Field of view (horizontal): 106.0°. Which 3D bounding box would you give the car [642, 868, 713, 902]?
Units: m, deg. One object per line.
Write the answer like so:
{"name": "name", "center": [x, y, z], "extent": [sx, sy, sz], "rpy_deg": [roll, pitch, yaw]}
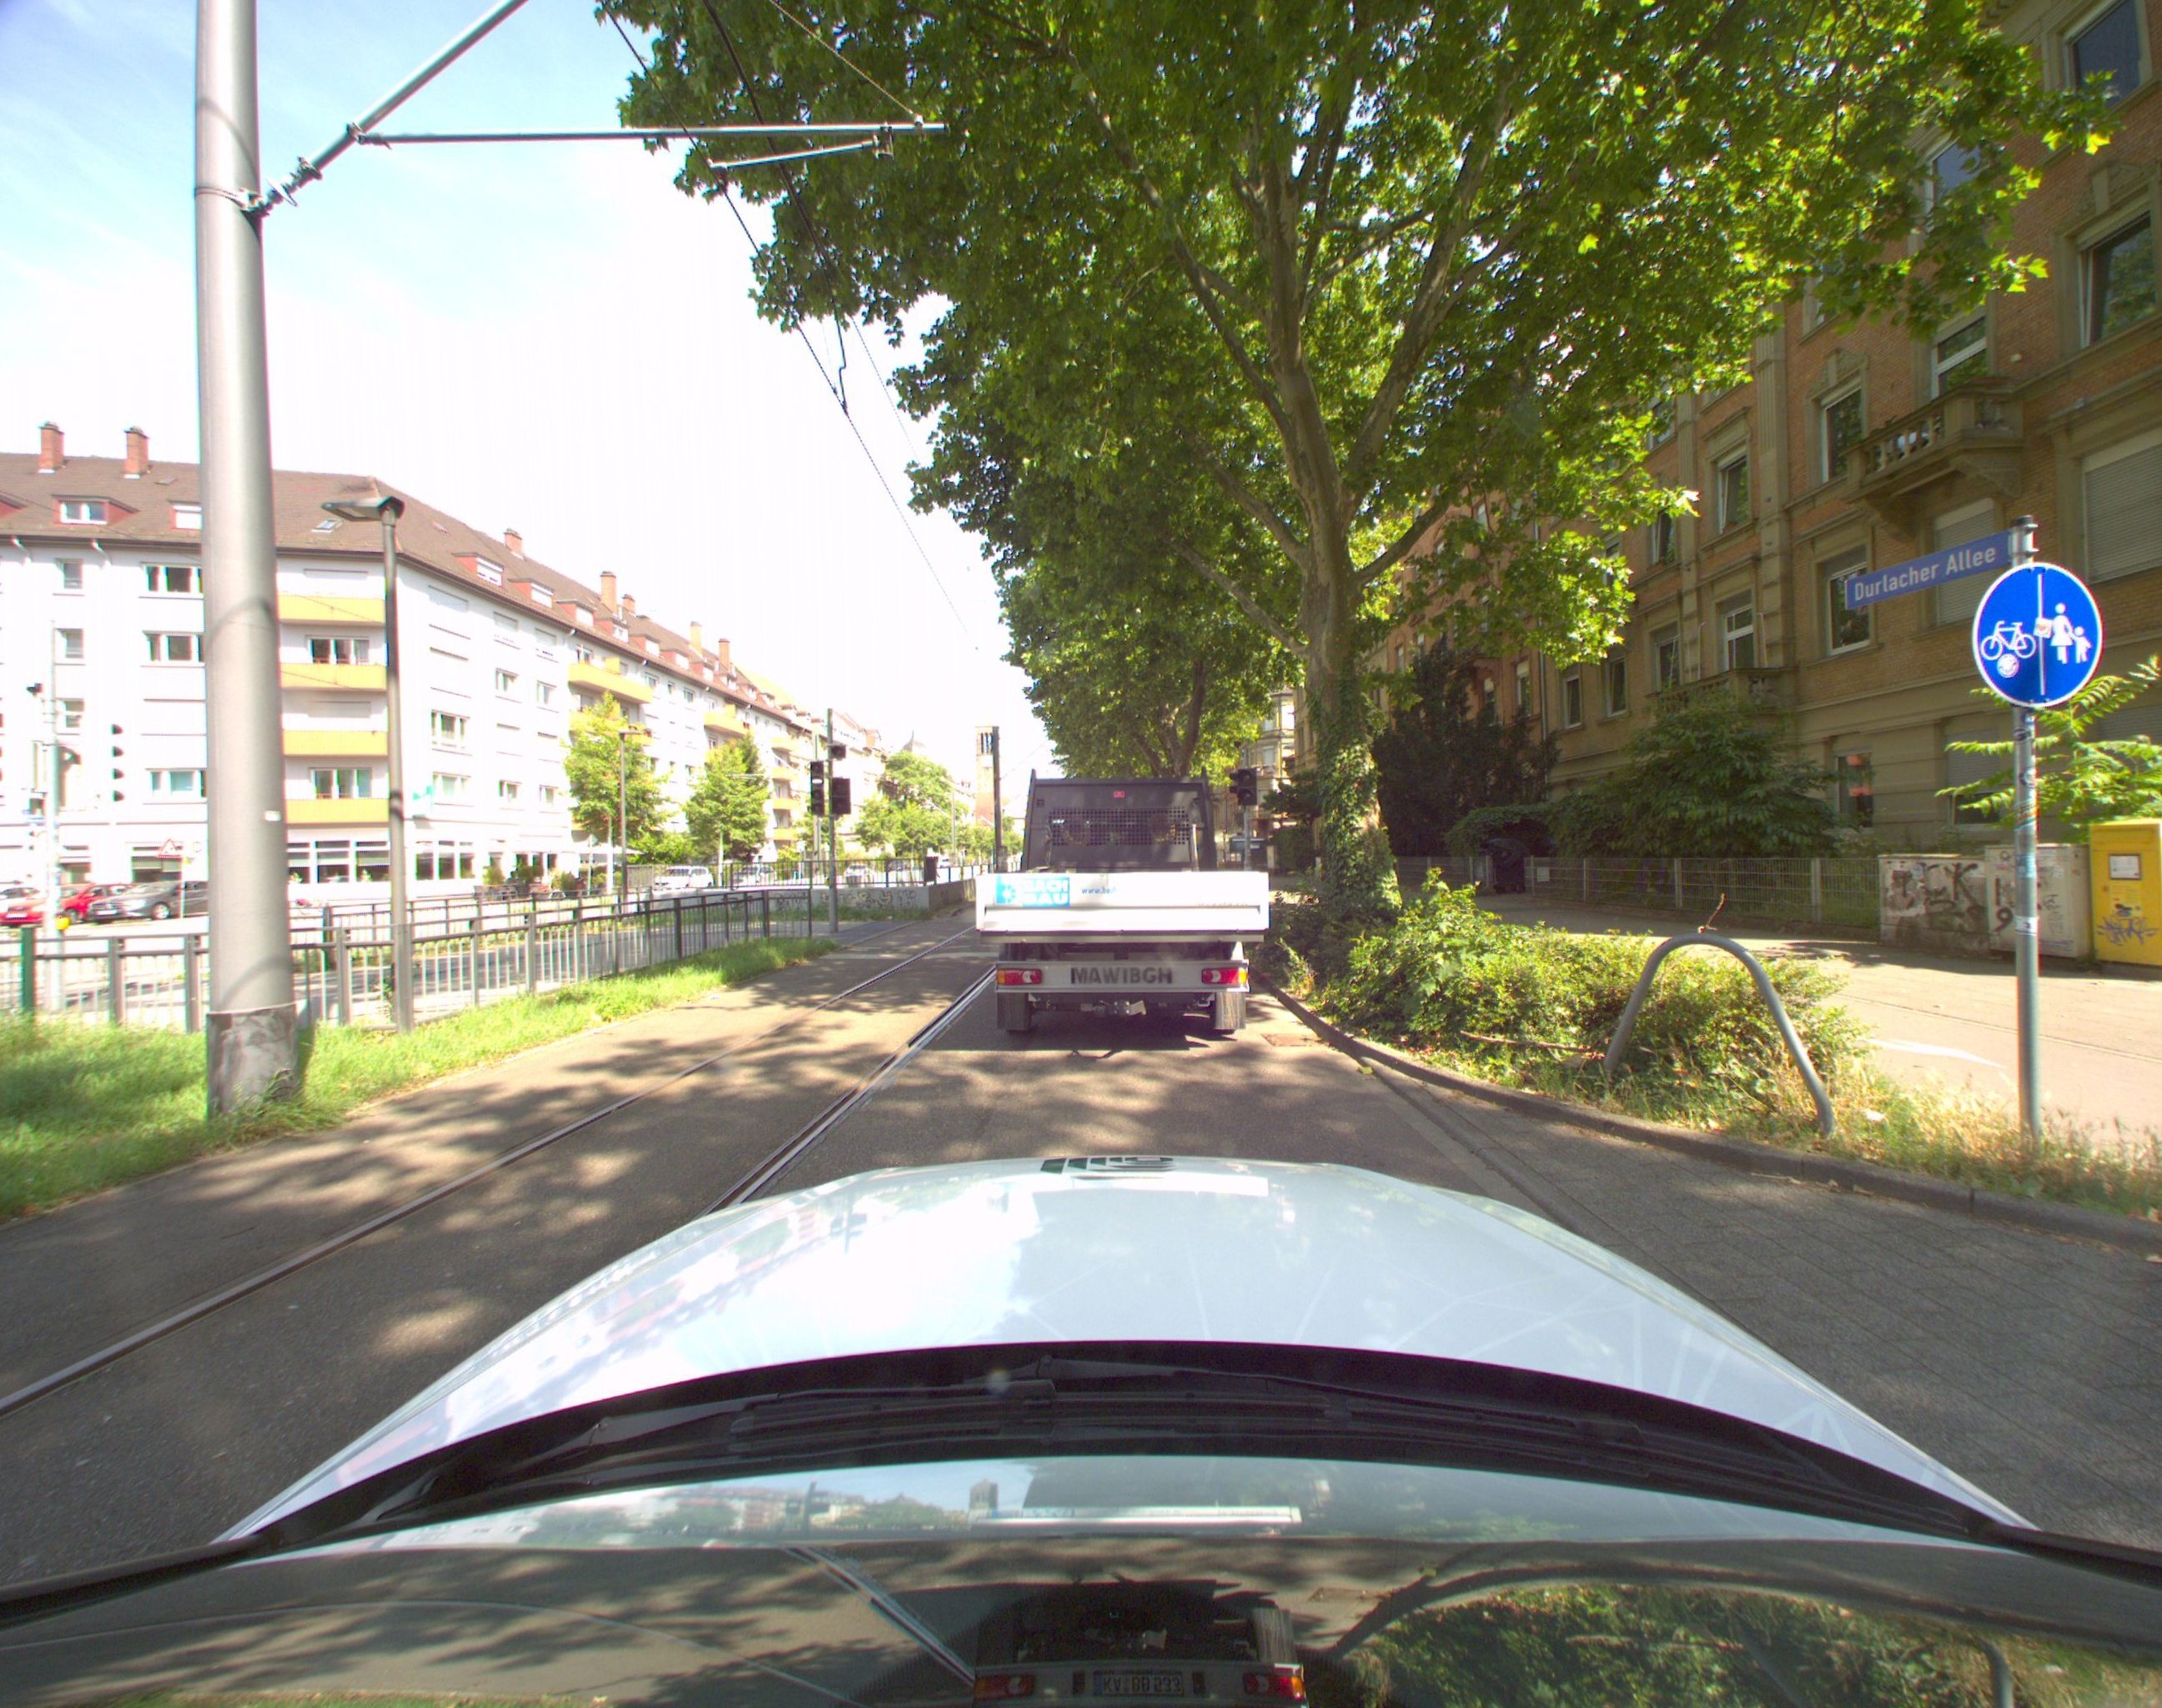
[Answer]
{"name": "car", "center": [-20.532, 1.524, 41.657], "extent": [1.767, 1.498, 3.994], "rpy_deg": [-3, 0, -4]}

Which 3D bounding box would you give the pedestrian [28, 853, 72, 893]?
{"name": "pedestrian", "center": [-41.690, 0.765, 32.945], "extent": [0.861, 1.572, 0.685], "rpy_deg": [-1, 0, -22]}

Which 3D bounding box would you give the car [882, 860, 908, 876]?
{"name": "car", "center": [-19.441, 1.431, 85.248], "extent": [1.764, 1.498, 4.000], "rpy_deg": [-2, 0, 0]}

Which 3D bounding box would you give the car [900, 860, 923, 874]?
{"name": "car", "center": [-19.358, 1.449, 93.088], "extent": [1.764, 1.498, 4.000], "rpy_deg": [-2, 0, 0]}

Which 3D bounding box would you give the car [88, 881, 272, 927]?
{"name": "car", "center": [-33.167, 1.802, 30.223], "extent": [1.830, 1.376, 4.637], "rpy_deg": [-2, 0, -4]}

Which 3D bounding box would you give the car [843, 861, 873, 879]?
{"name": "car", "center": [-19.586, 1.398, 71.772], "extent": [1.767, 1.498, 3.994], "rpy_deg": [-2, 0, -4]}

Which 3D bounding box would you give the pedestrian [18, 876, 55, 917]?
{"name": "pedestrian", "center": [-41.477, 1.693, 32.342], "extent": [0.690, 1.572, 0.542], "rpy_deg": [-1, 0, -22]}

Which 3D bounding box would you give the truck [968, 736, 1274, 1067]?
{"name": "truck", "center": [0.385, 0.344, 7.976], "extent": [2.130, 2.319, 4.404], "rpy_deg": [-1, 0, 3]}

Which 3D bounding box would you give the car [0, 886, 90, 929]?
{"name": "car", "center": [-39.314, 1.978, 29.484], "extent": [1.930, 1.406, 4.158], "rpy_deg": [-2, 0, -6]}

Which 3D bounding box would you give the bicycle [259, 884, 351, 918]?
{"name": "bicycle", "center": [-30.102, 1.795, 31.686], "extent": [0.908, 1.137, 2.807], "rpy_deg": [-2, 0, -1]}

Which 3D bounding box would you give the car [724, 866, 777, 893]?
{"name": "car", "center": [-20.312, 1.543, 50.238], "extent": [1.767, 1.498, 3.994], "rpy_deg": [-3, 0, -4]}

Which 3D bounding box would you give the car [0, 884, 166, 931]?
{"name": "car", "center": [-36.526, 1.894, 29.651], "extent": [1.930, 1.406, 4.158], "rpy_deg": [-2, 0, -6]}
